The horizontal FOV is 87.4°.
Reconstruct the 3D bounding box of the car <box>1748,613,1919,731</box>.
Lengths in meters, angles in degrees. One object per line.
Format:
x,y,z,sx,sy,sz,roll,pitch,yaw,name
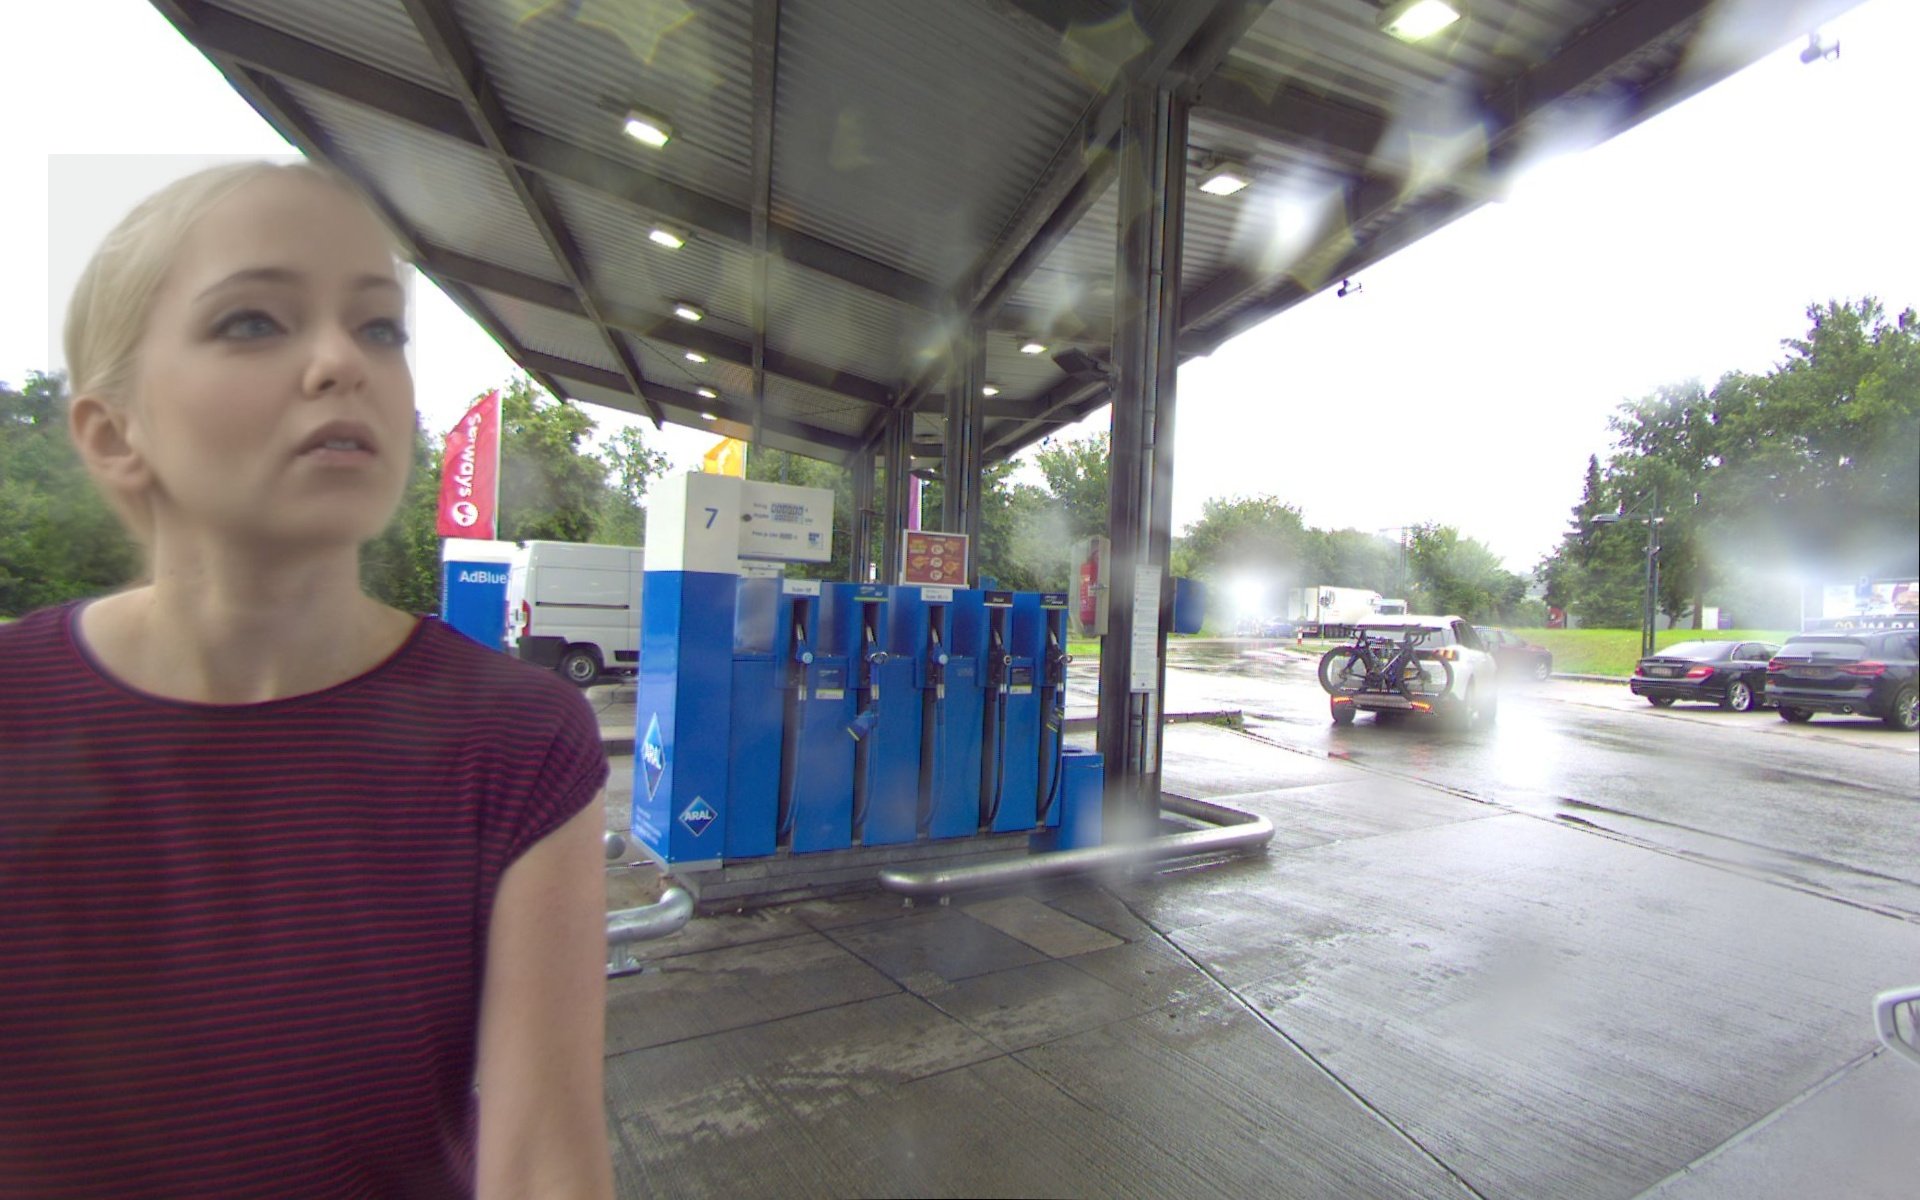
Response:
16.173,1.189,17.420,4.344,1.852,1.883,1,-1,-19,car

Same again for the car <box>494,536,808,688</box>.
-5.752,0.267,18.975,5.227,2.496,2.306,1,-1,-34,car

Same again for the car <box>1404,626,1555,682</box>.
16.024,1.645,30.986,4.294,1.617,1.879,1,-1,-24,car

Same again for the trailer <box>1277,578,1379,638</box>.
30.939,0.750,83.870,3.416,4.618,13.847,2,0,40,trailer

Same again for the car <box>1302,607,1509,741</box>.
6.701,0.942,14.769,1.790,1.586,4.987,1,0,36,car

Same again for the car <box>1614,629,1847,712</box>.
15.960,1.417,20.839,4.119,1.585,1.883,1,-1,-19,car

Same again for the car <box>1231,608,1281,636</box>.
20.910,1.536,70.816,1.903,1.862,4.373,1,0,38,car

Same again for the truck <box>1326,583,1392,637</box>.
35.612,0.920,89.474,3.416,4.618,6.704,2,0,40,truck

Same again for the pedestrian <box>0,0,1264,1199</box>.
-0.406,0.311,0.638,0.830,1.757,0.790,2,-1,-31,pedestrian
